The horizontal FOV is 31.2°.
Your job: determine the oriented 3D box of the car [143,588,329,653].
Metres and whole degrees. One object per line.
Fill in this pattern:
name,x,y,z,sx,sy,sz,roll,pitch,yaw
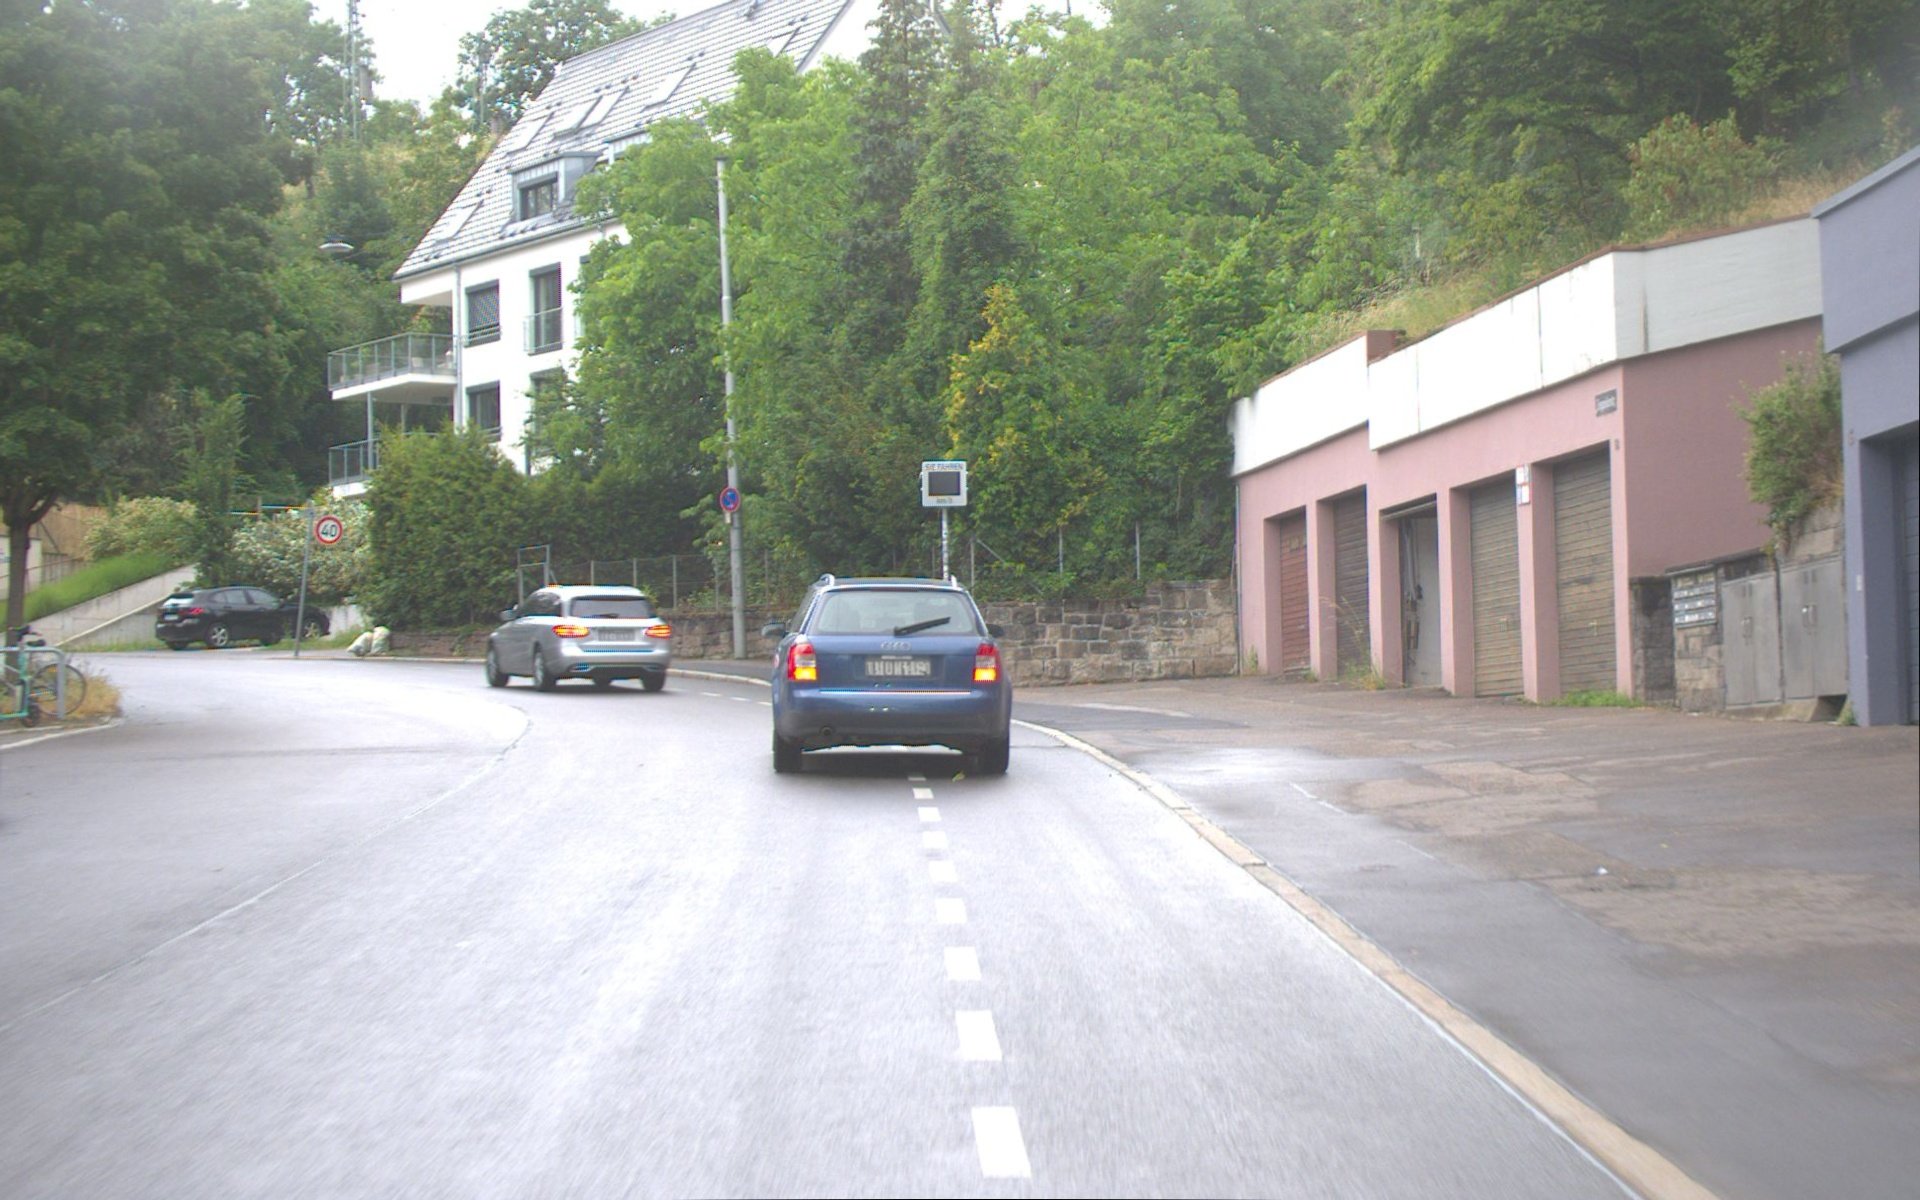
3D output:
car,-17.116,0.473,81.398,1.739,1.503,4.173,0,0,39

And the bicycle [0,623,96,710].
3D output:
bicycle,-11.906,0.831,43.114,1.962,1.056,0.754,-1,1,-26

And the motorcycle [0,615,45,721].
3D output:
motorcycle,-11.239,0.788,40.360,0.557,1.199,1.399,0,1,3

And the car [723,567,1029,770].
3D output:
car,-0.733,0.458,26.328,1.853,1.409,4.362,0,1,-8

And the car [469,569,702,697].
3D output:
car,-5.331,0.443,48.459,1.949,1.556,4.264,3,0,-24

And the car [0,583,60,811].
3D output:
car,-7.377,0.600,22.446,1.993,1.386,4.198,0,0,-28
